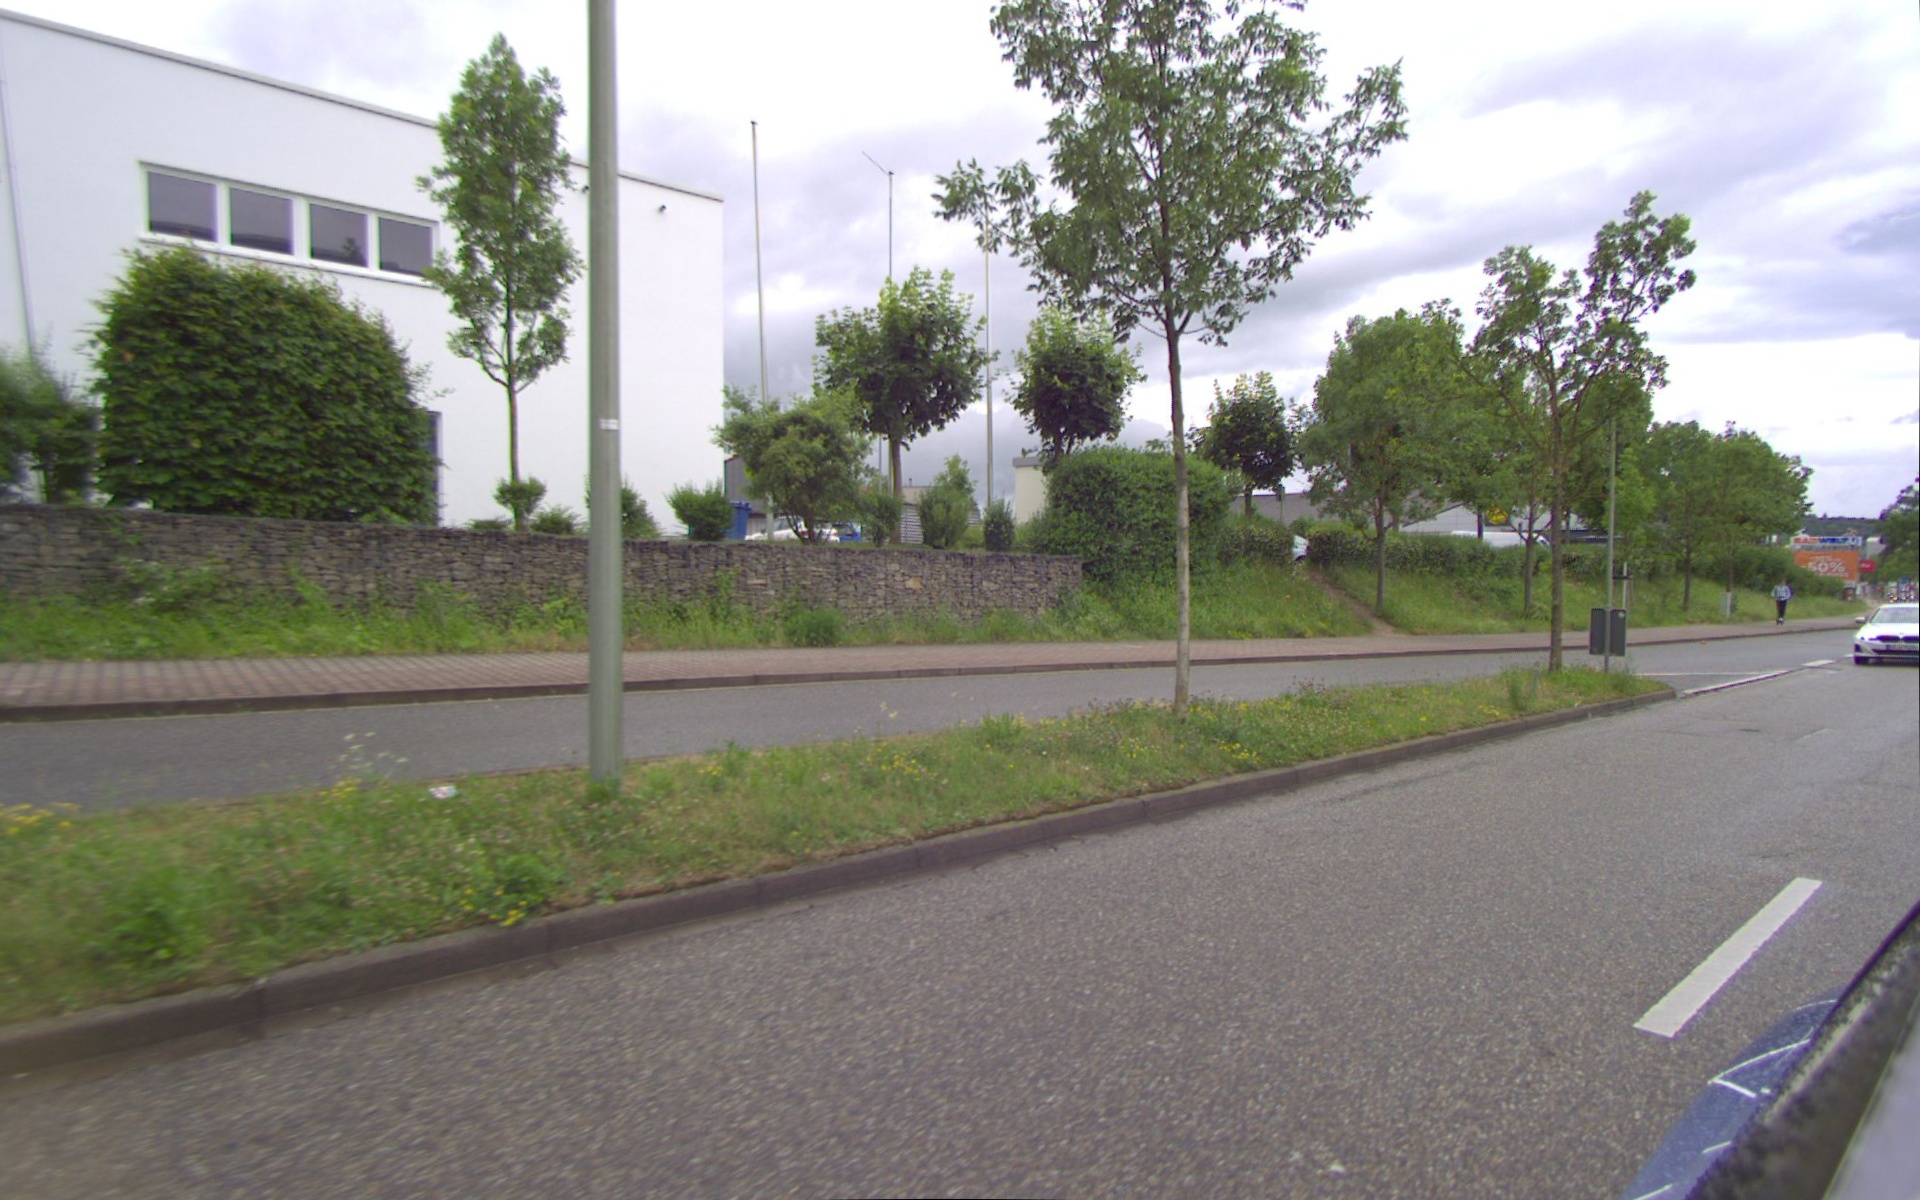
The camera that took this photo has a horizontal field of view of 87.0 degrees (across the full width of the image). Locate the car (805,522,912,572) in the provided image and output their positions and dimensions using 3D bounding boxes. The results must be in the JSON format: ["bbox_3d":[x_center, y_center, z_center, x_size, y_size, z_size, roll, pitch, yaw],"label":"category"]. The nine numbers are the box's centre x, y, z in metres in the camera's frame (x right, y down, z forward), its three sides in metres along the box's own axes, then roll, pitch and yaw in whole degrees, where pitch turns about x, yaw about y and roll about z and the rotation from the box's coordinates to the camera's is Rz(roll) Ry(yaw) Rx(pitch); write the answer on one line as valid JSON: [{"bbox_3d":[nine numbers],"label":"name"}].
[{"bbox_3d":[-3.721,-1.918,36.569,1.769,1.683,3.991,0,3,-44],"label":"car"}]

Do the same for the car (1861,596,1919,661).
[{"bbox_3d":[23.363,0.629,24.417,4.461,1.458,1.807,0,0,-40],"label":"car"}]

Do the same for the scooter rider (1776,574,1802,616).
[{"bbox_3d":[37.436,-0.253,45.722,0.843,1.842,0.696,-1,4,-42],"label":"scooter rider"}]

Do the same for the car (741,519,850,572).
[{"bbox_3d":[-5.766,-1.886,35.137,1.769,1.683,3.991,0,3,-44],"label":"car"}]

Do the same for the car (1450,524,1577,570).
[{"bbox_3d":[29.915,-2.906,54.859,5.608,2.167,2.090,7,5,42],"label":"car"}]

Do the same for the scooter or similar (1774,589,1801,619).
[{"bbox_3d":[37.400,0.152,45.725,1.377,1.279,0.696,-1,4,-42],"label":"scooter or similar"}]
